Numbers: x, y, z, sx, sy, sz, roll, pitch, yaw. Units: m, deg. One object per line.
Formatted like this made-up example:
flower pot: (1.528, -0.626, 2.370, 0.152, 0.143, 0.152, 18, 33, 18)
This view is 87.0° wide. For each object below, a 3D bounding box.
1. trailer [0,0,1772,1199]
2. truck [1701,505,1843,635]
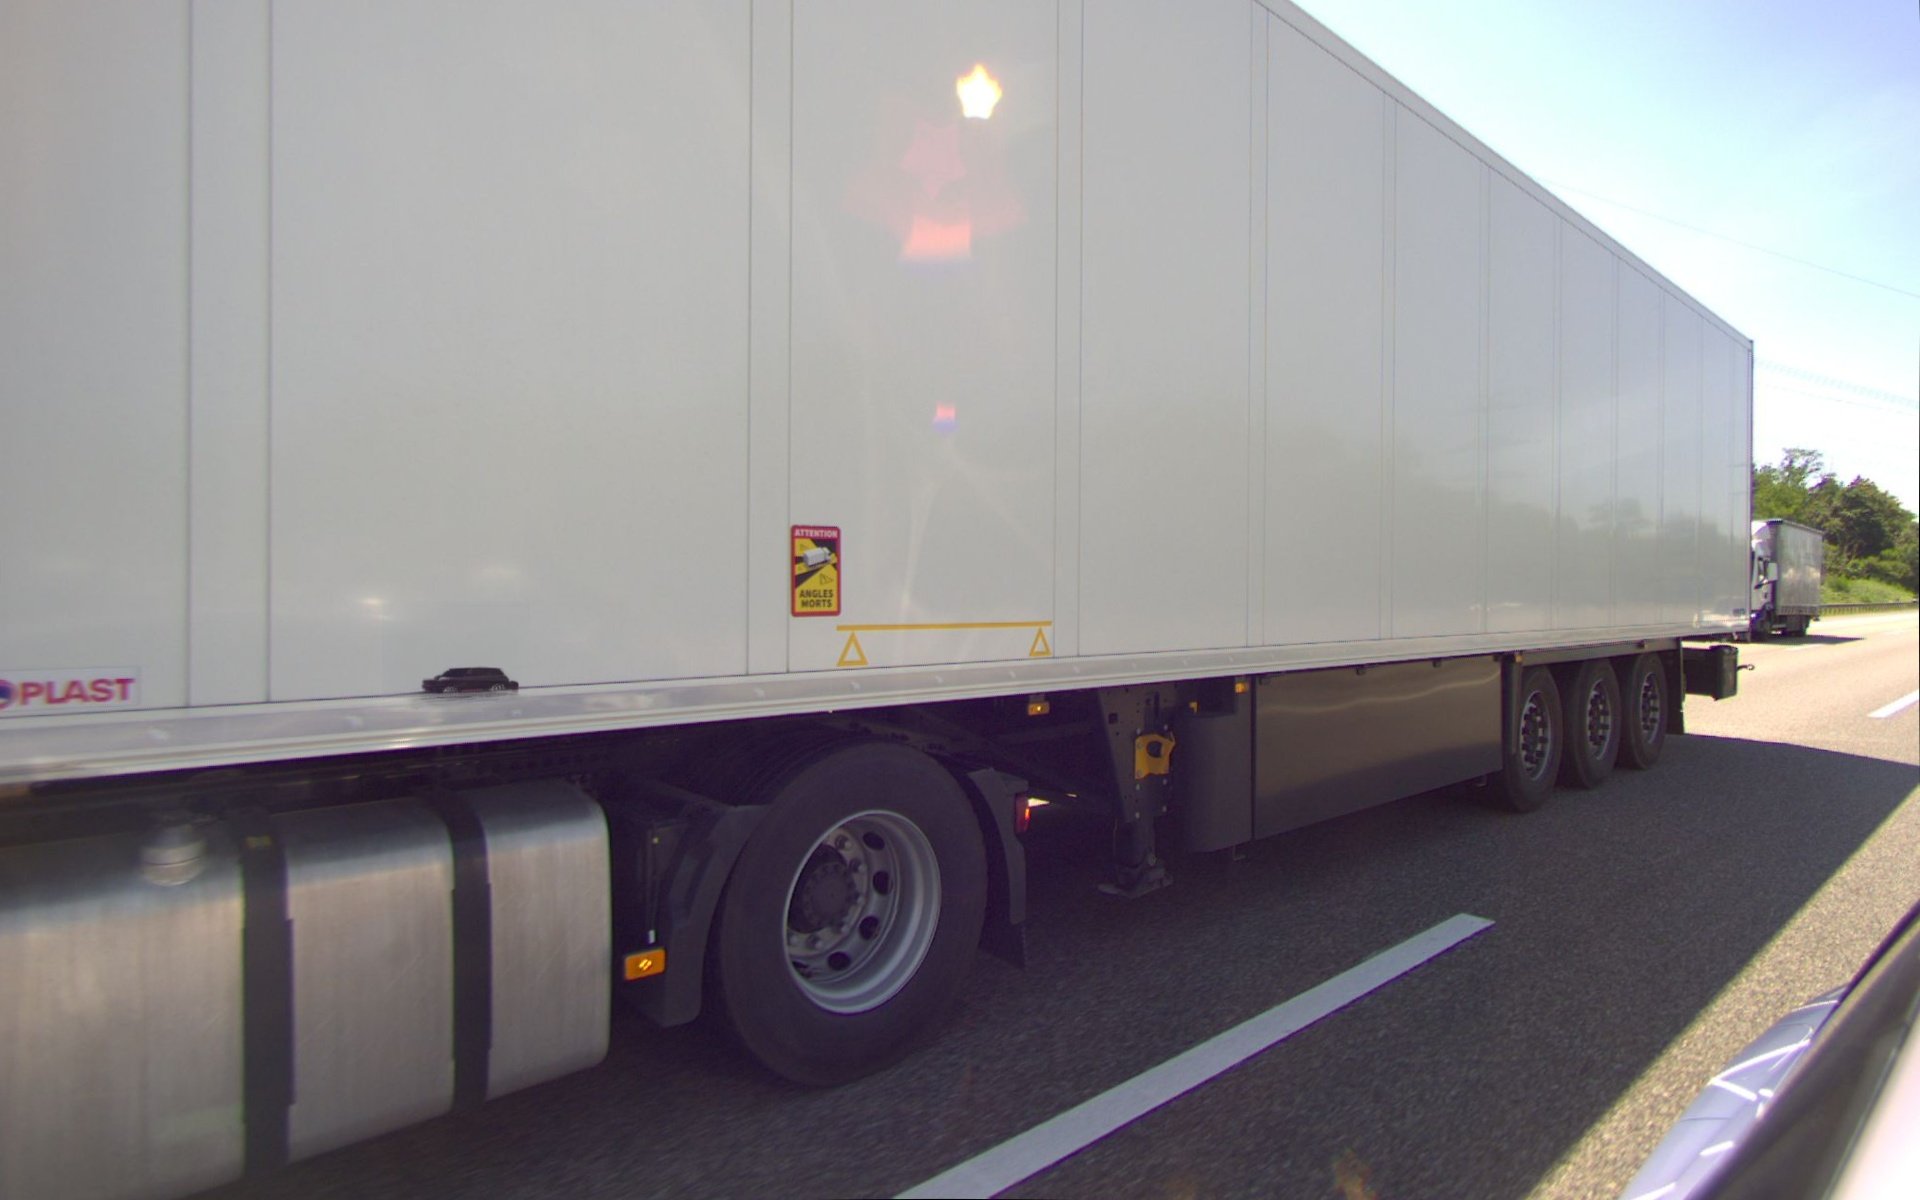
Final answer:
trailer: (1.234, -0.761, 6.044, 15.919, 4.068, 2.942, -1, 1, -41)
truck: (27.112, -0.916, 33.570, 9.868, 3.819, 1.986, 0, 1, -41)
